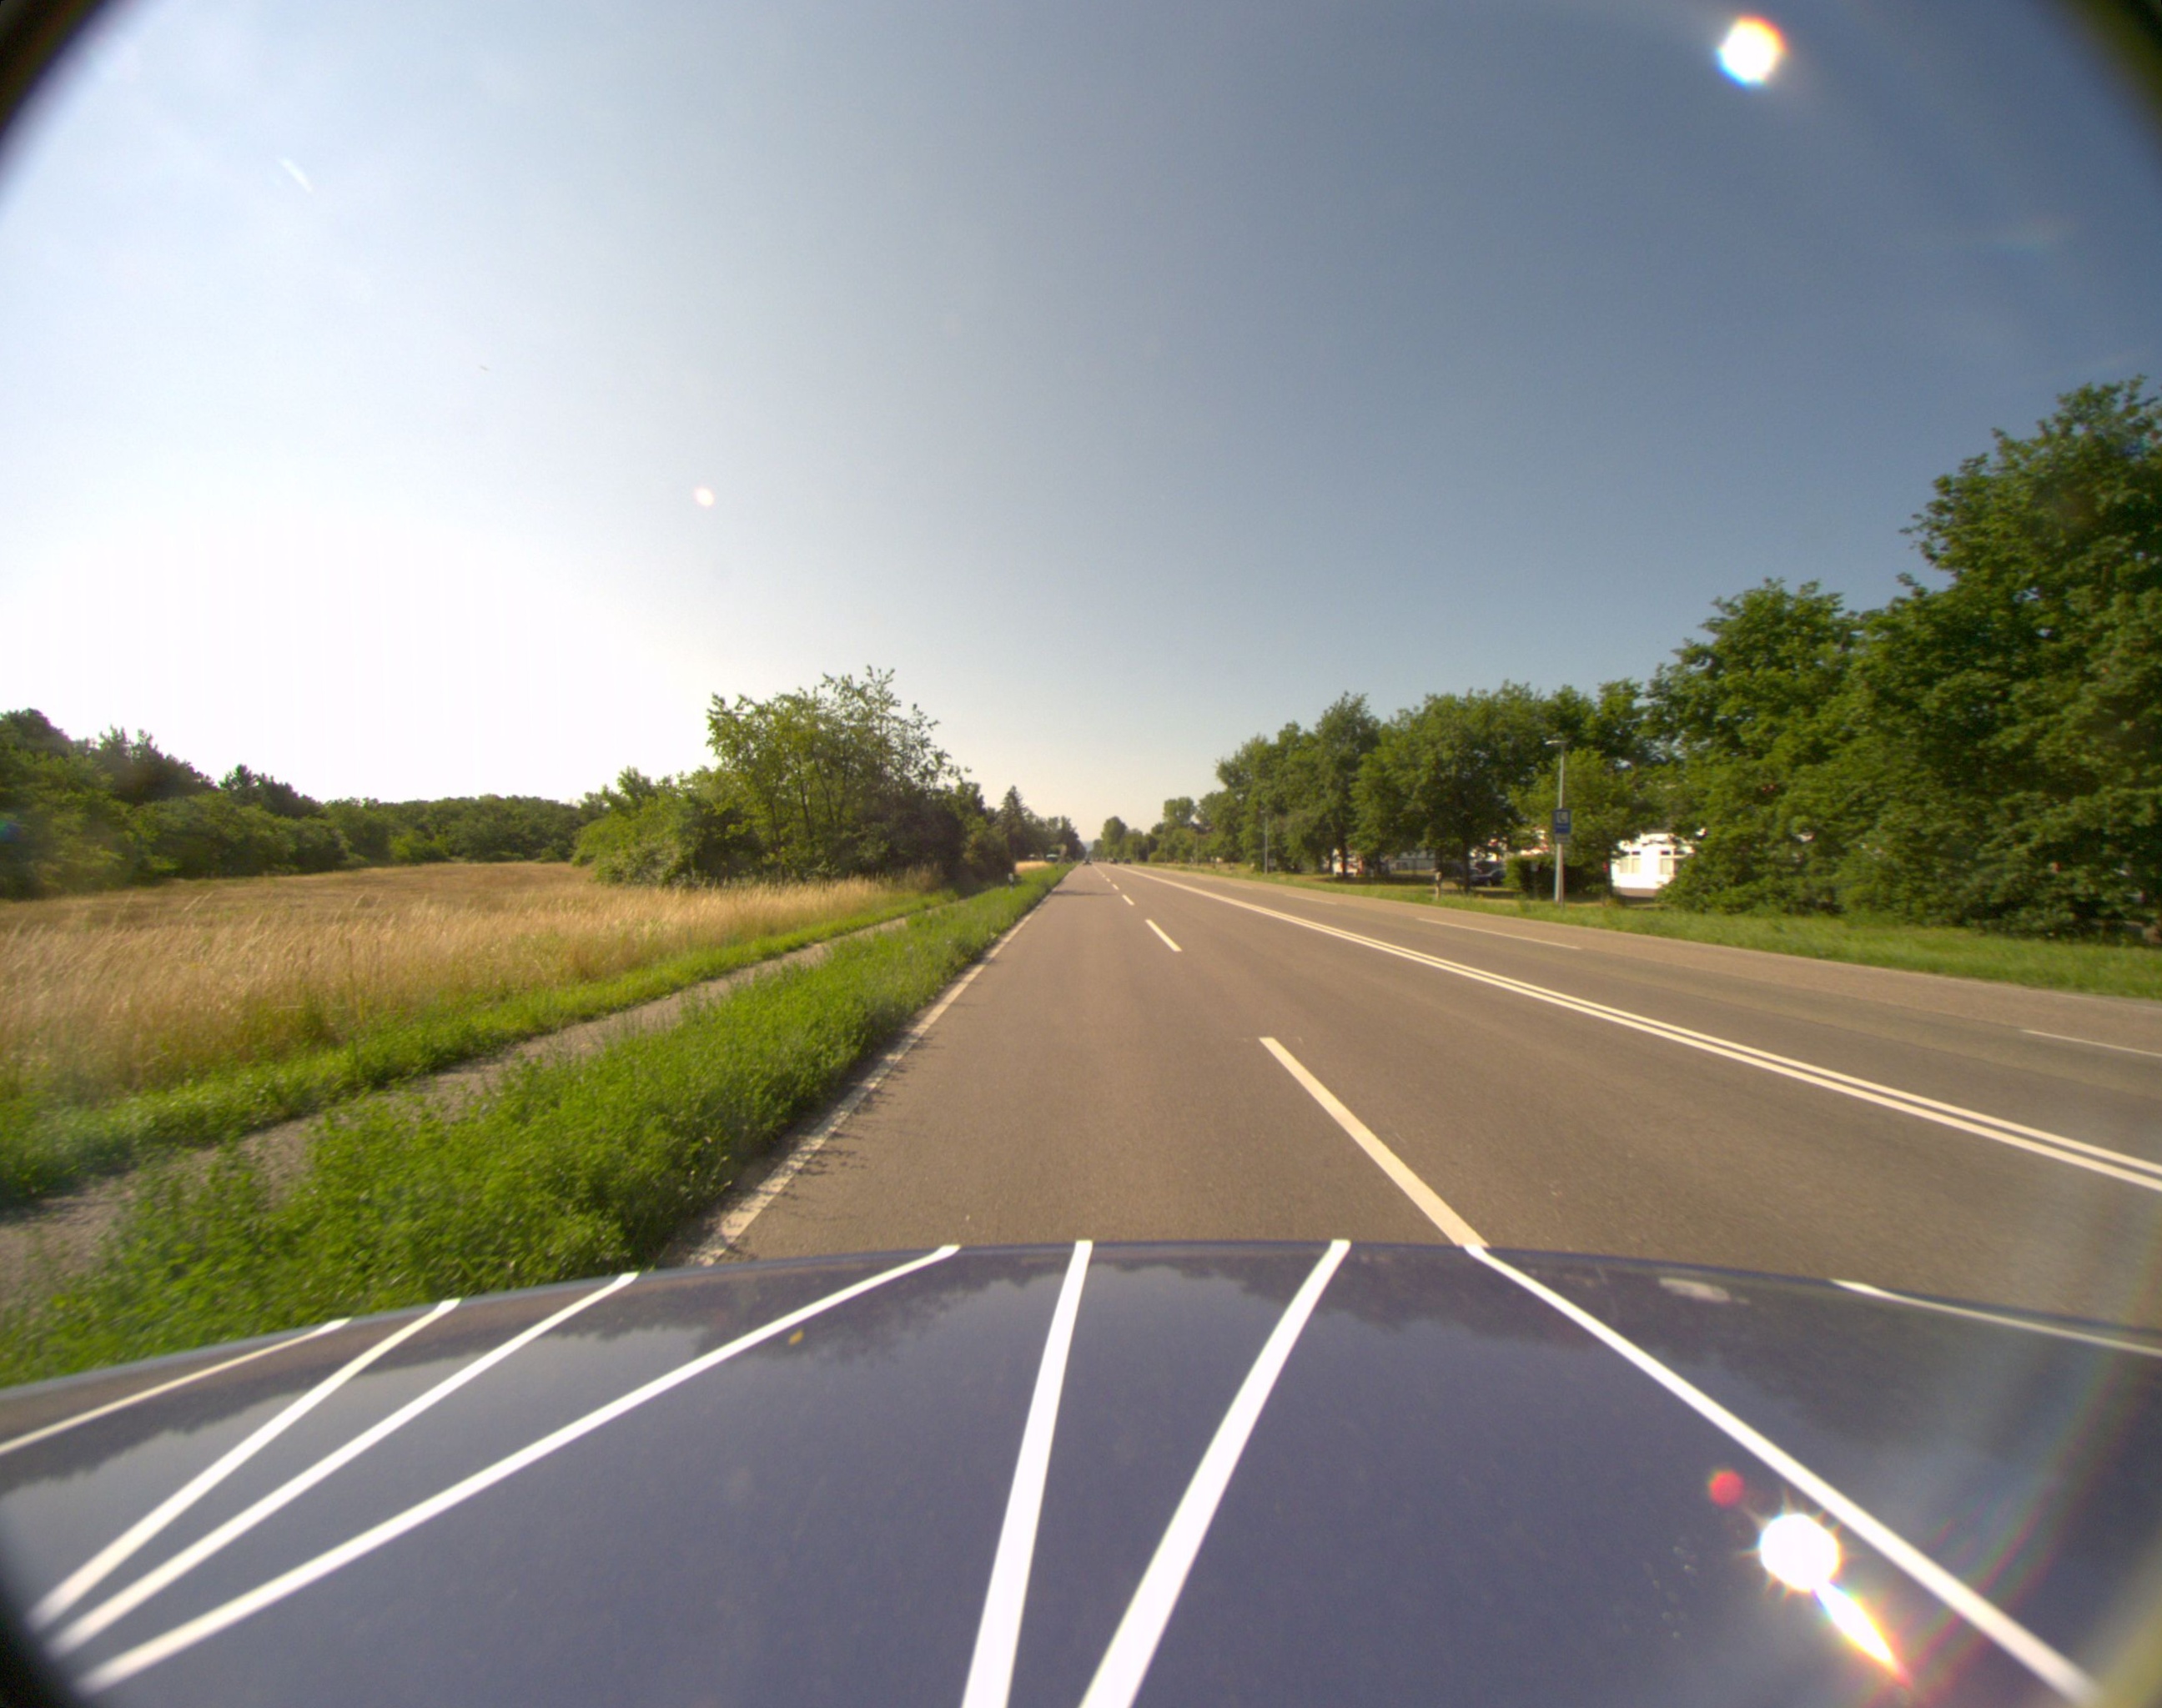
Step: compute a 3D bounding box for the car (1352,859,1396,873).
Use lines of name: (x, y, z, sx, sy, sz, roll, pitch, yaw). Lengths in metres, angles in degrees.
car: (31.184, 1.299, 80.969, 3.997, 1.492, 1.757, 0, 0, 0)

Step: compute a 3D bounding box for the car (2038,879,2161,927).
car: (33.947, 1.552, 24.274, 1.676, 1.342, 4.000, 0, 0, 0)

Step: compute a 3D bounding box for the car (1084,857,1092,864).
car: (1.514, 1.300, 160.119, 1.768, 1.403, 4.001, 0, -1, 1)

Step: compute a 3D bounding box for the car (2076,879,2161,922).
car: (36.403, 1.577, 25.148, 1.676, 1.342, 4.000, 0, 0, 0)

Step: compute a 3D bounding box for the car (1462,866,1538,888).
car: (30.106, 1.632, 54.723, 4.361, 1.318, 1.857, 3, 1, 0)

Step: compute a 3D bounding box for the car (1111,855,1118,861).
car: (7.757, 0.944, 177.912, 1.520, 1.442, 3.775, 2, 0, 0)

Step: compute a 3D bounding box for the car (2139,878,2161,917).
car: (38.812, 1.551, 25.271, 1.676, 1.342, 4.000, 0, 0, 0)

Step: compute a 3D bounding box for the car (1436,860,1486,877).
car: (32.130, 1.231, 64.423, 1.792, 1.341, 4.662, 1, 0, -2)

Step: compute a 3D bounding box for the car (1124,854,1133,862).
car: (11.323, 0.921, 181.826, 1.830, 1.662, 4.389, 2, 0, -1)
